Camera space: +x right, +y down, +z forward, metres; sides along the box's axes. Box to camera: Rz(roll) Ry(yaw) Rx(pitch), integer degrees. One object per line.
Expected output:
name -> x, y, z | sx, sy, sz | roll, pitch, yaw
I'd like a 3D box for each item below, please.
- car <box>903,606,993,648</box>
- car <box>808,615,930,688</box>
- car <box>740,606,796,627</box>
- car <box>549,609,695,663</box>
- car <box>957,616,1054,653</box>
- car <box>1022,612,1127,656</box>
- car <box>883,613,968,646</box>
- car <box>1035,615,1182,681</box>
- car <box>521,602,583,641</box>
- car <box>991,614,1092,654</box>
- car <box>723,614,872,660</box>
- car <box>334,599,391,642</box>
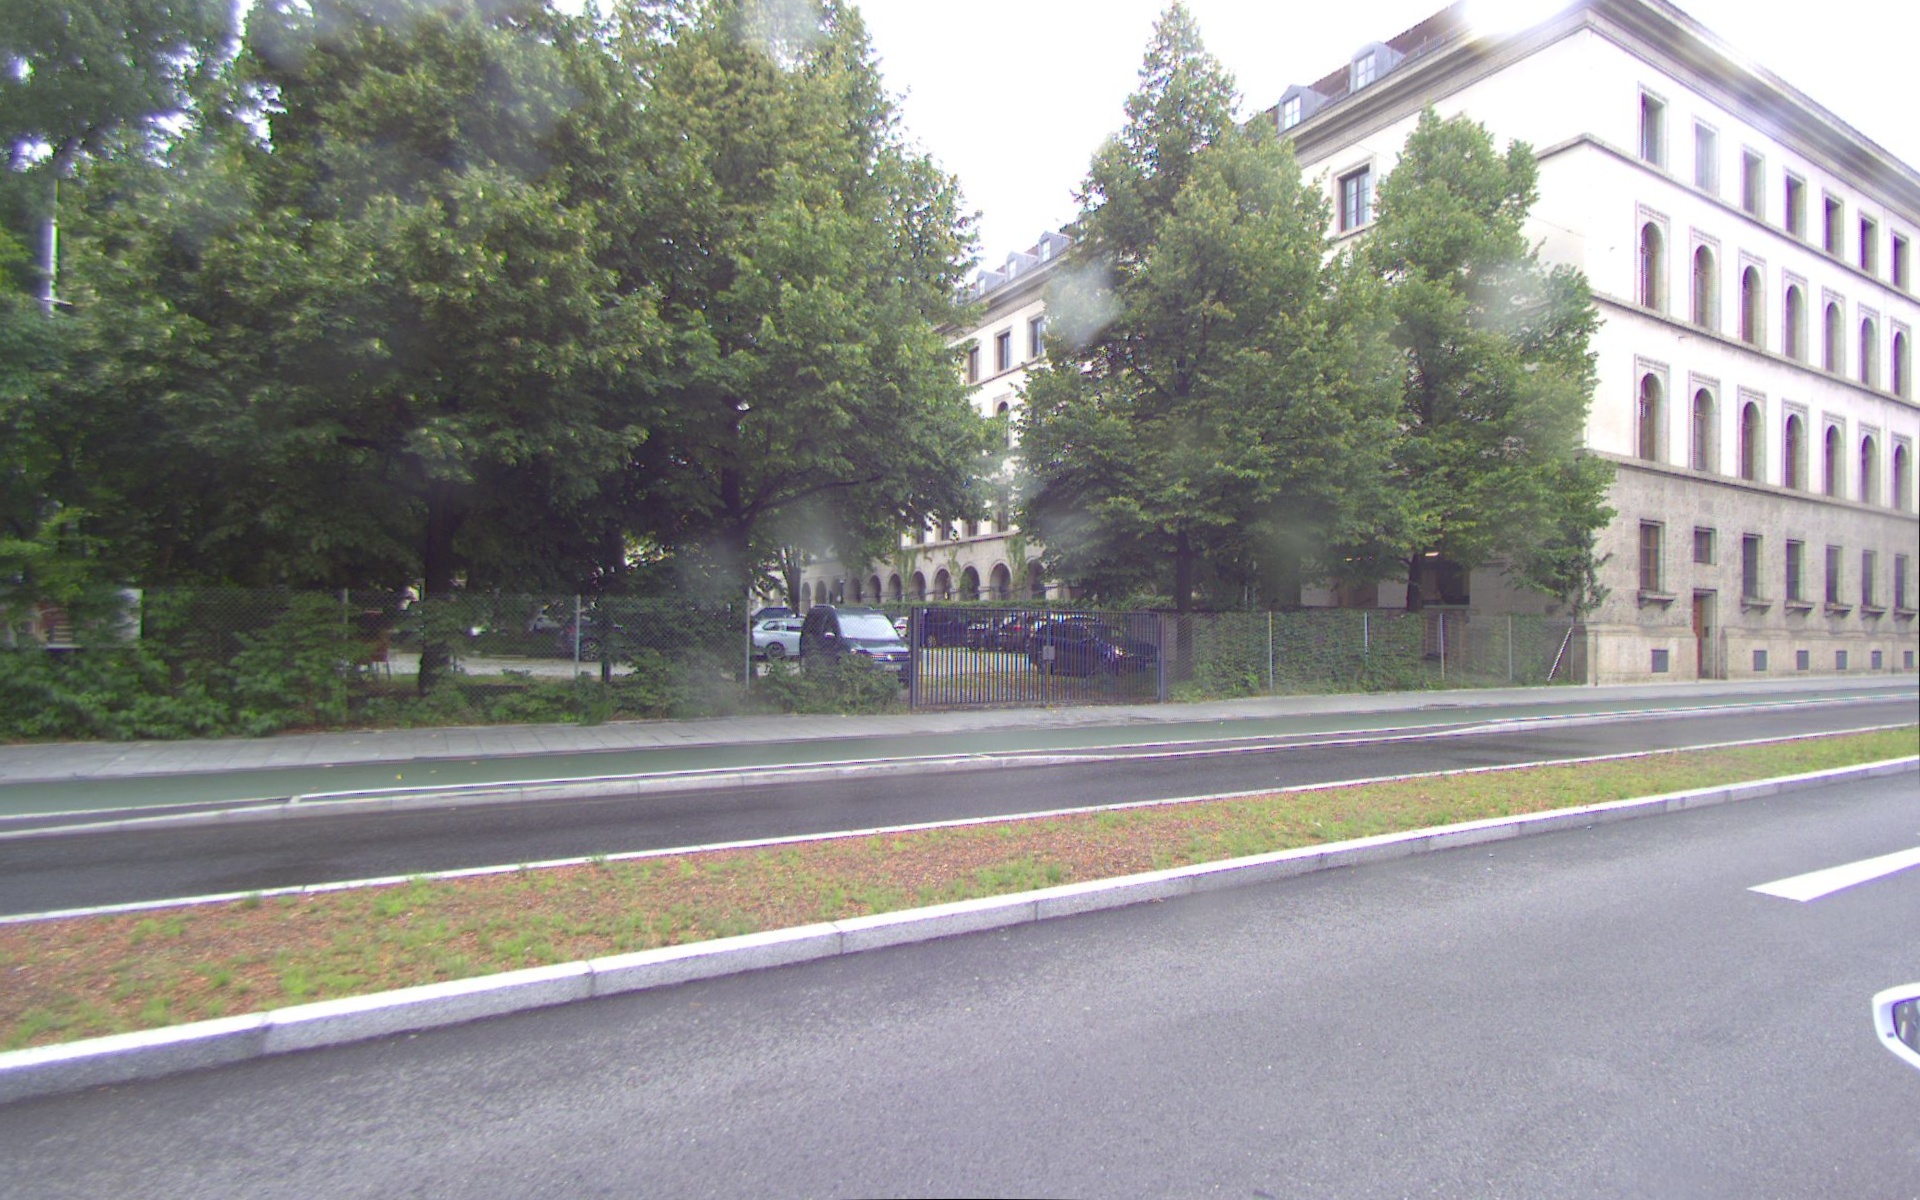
car -> -0.577, 1.326, 48.389 | 3.949, 1.954, 1.838 | 1, -1, -28
car -> -2.302, 1.196, 24.324 | 1.779, 1.610, 4.137 | 1, -2, -23
car -> -15.016, 1.333, 78.579 | 3.954, 1.564, 1.761 | 1, -1, -31
car -> -10.398, 1.092, 30.983 | 3.956, 1.564, 1.761 | 2, -1, -32
car -> 2.013, 1.516, 43.998 | 3.954, 1.564, 1.761 | 1, -1, -31
car -> 4.552, 1.347, 39.869 | 3.954, 1.662, 1.657 | 2, -1, -31
car -> -1.721, 1.485, 50.458 | 3.954, 1.564, 1.761 | 1, -1, -31
car -> 4.002, 1.269, 27.692 | 1.783, 1.671, 4.243 | 1, -2, -30
car -> -19.021, 1.002, 46.773 | 1.978, 1.742, 3.965 | 1, -1, -32
car -> 3.421, 1.416, 41.971 | 3.954, 1.564, 1.761 | 1, -1, -31
car -> -5.462, 1.253, 33.987 | 4.580, 1.460, 1.983 | 1, -1, -31
car -> -25.550, 0.879, 42.888 | 1.978, 1.742, 3.965 | 1, -1, -32
